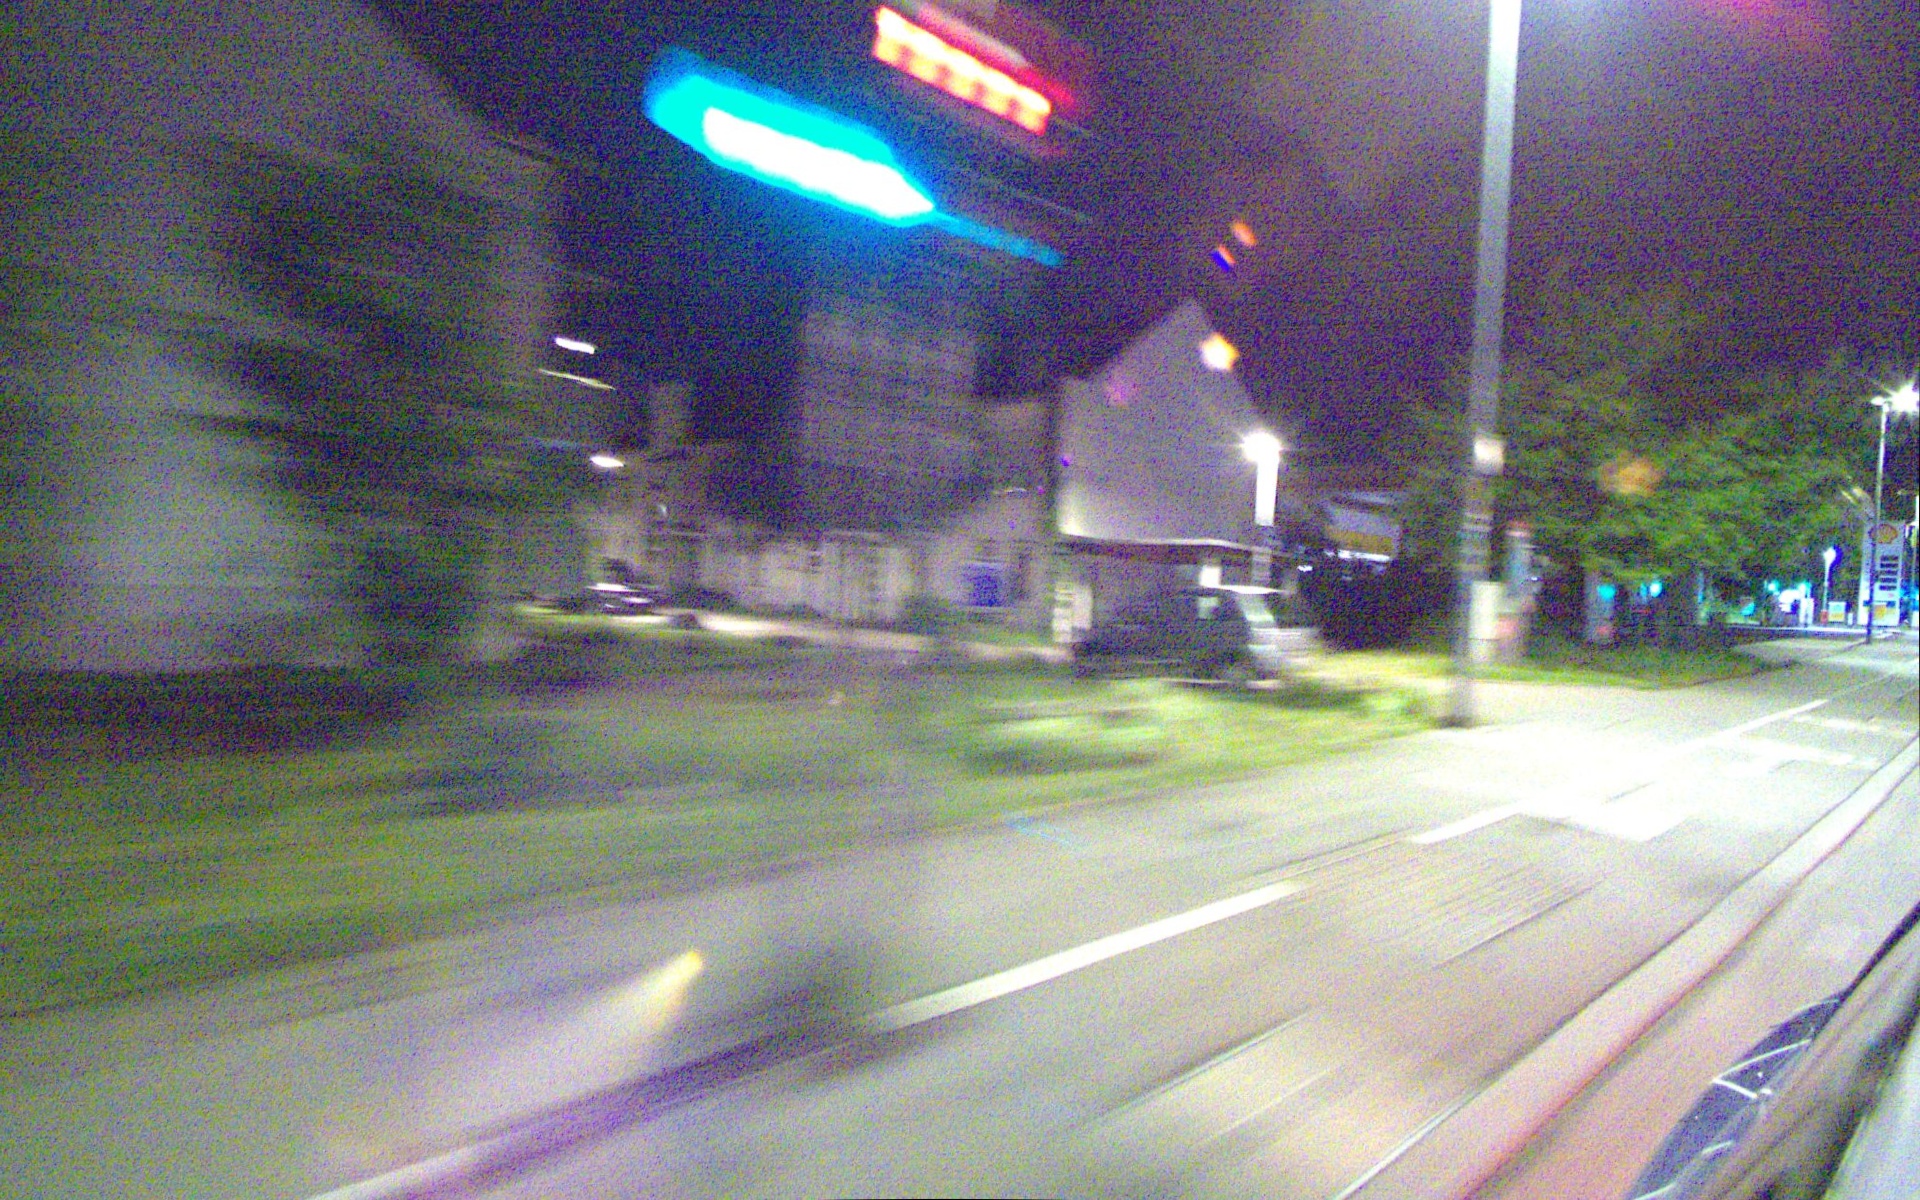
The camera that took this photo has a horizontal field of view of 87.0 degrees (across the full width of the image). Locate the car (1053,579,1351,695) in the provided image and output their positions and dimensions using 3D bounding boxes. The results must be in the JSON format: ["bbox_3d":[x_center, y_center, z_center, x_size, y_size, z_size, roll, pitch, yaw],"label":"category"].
[{"bbox_3d":[3.328,0.421,14.433,1.826,1.371,3.771,0,2,-41],"label":"car"}]

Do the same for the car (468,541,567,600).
[{"bbox_3d":[-15.429,-1.047,35.192,1.966,1.905,3.994,1,2,-42],"label":"car"}]

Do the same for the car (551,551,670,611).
[{"bbox_3d":[-10.379,-0.582,29.921,1.965,1.593,3.995,1,2,-41],"label":"car"}]
